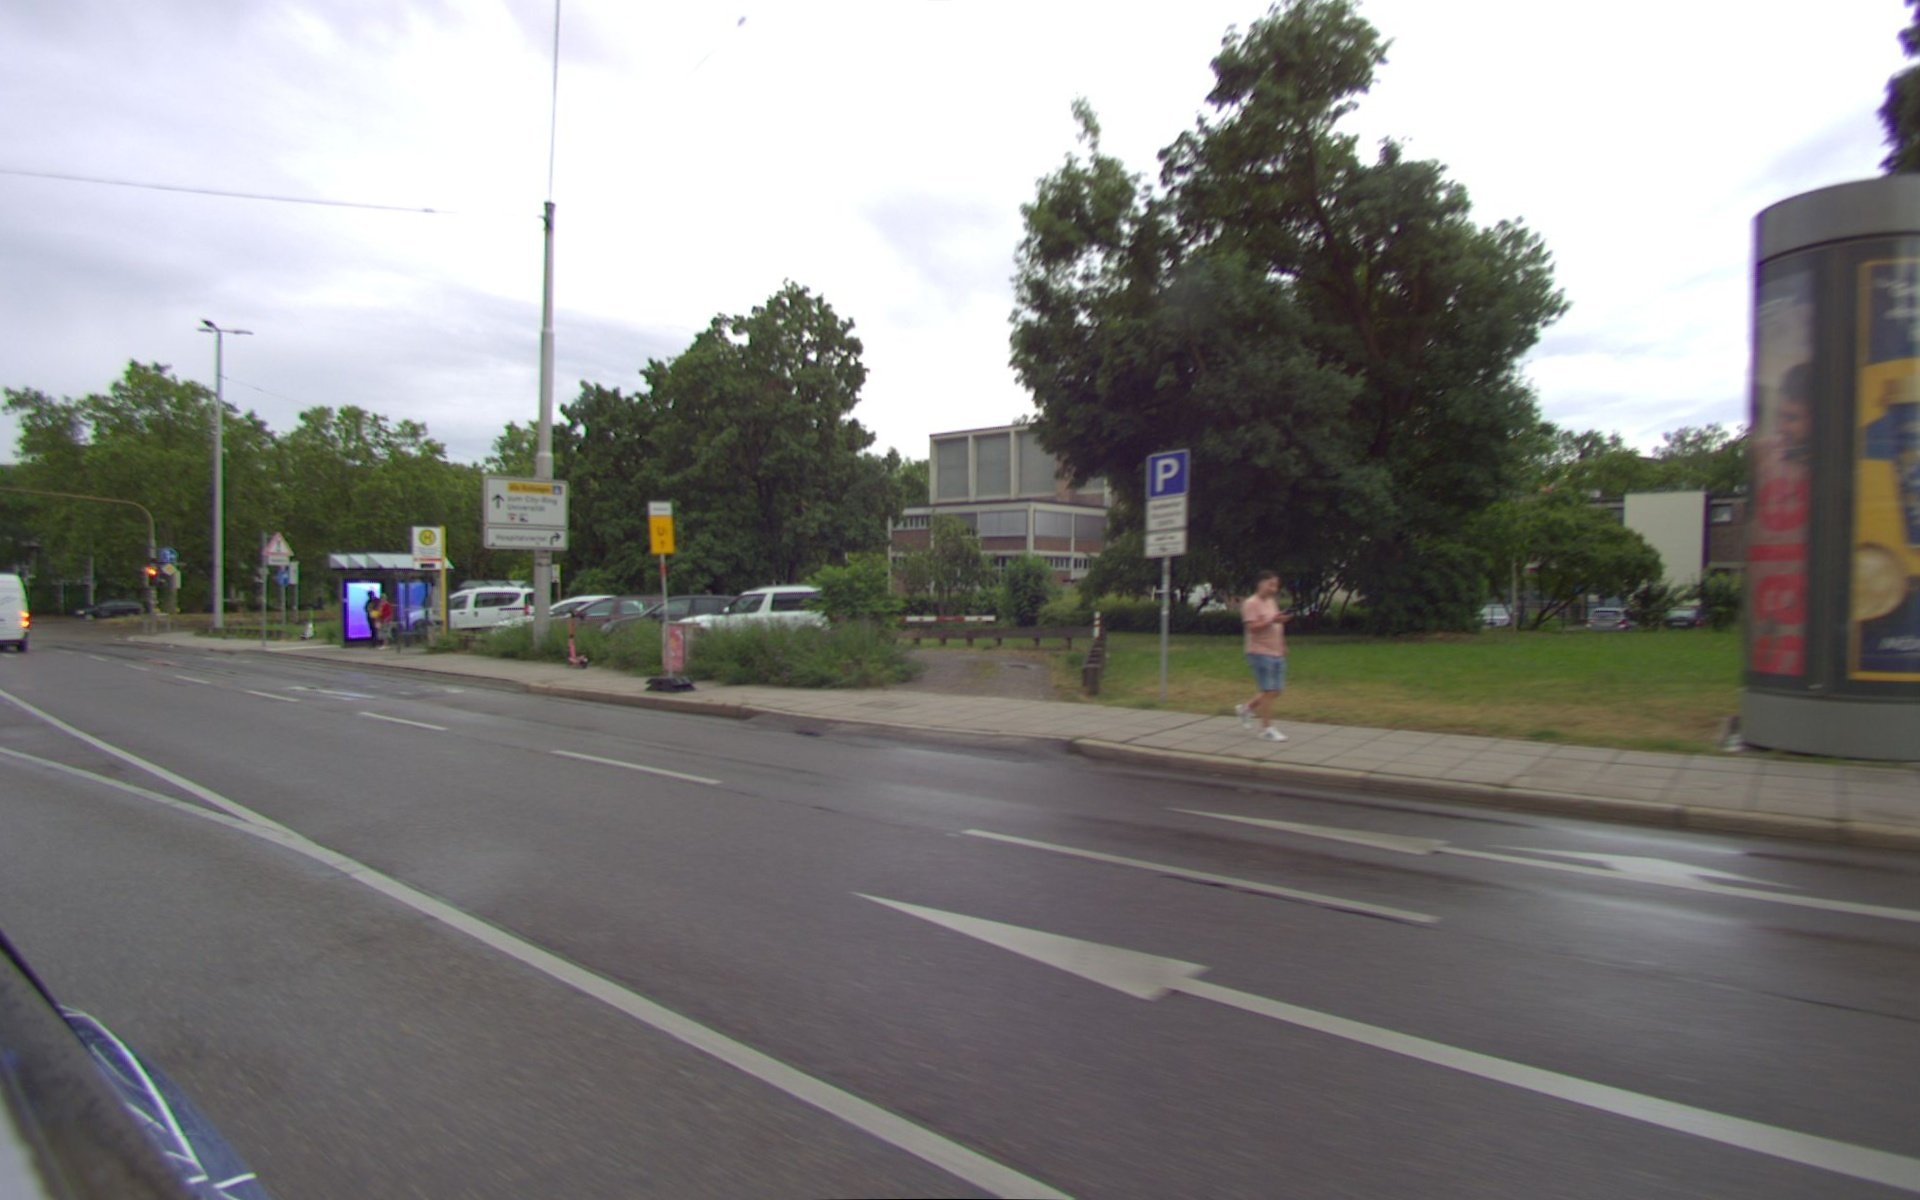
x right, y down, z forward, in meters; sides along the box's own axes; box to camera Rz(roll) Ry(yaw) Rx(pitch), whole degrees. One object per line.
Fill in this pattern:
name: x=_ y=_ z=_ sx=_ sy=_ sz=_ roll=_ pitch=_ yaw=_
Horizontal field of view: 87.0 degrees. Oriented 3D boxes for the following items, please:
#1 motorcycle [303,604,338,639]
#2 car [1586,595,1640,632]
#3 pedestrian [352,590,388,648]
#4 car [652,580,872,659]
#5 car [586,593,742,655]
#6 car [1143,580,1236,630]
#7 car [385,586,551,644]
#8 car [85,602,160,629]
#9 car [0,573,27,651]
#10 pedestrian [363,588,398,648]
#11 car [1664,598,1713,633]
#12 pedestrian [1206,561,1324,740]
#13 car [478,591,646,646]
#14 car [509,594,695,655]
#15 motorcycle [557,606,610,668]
motorcycle: x=-23.650 y=0.772 z=37.410 sx=1.261 sy=1.256 sz=0.511 roll=0 pitch=2 yaw=27
car: x=30.267 y=0.596 z=46.846 sx=1.796 sy=1.530 sz=3.950 roll=0 pitch=2 yaw=38
pedestrian: x=-17.647 y=0.555 z=30.284 sx=0.670 sy=1.708 sz=0.678 roll=0 pitch=2 yaw=33
car: x=-4.374 y=0.425 z=22.730 sx=4.473 sy=1.621 sz=1.864 roll=-1 pitch=1 yaw=8
car: x=-7.266 y=0.559 z=25.151 sx=3.539 sy=1.359 sz=1.847 roll=-1 pitch=2 yaw=-10
car: x=14.024 y=0.222 z=61.542 sx=2.741 sy=2.781 sz=6.123 roll=0 pitch=2 yaw=45
car: x=-16.647 y=0.484 z=34.451 sx=4.649 sy=1.768 sz=2.020 roll=-1 pitch=1 yaw=-7
car: x=-63.265 y=1.163 z=76.551 sx=4.276 sy=1.925 sz=2.082 roll=0 pitch=-1 yaw=-38
car: x=-33.987 y=0.424 z=34.861 sx=5.626 sy=2.548 sz=1.963 roll=-1 pitch=-1 yaw=39
pedestrian: x=-17.047 y=0.518 z=29.770 sx=0.641 sy=1.708 sz=0.622 roll=0 pitch=2 yaw=33
car: x=32.303 y=0.646 z=44.824 sx=1.653 sy=1.360 sz=3.802 roll=0 pitch=2 yaw=38
pedestrian: x=3.067 y=0.472 z=10.199 sx=0.662 sy=1.699 sz=0.914 roll=-2 pitch=2 yaw=-42
car: x=-11.294 y=0.475 z=28.976 sx=4.305 sy=1.359 sz=1.911 roll=-2 pitch=2 yaw=-19
car: x=-9.532 y=0.597 z=26.994 sx=4.504 sy=1.359 sz=1.911 roll=-2 pitch=2 yaw=-24
motorcycle: x=-8.001 y=0.768 z=21.507 sx=1.267 sy=1.256 sz=0.509 roll=0 pitch=2 yaw=43
